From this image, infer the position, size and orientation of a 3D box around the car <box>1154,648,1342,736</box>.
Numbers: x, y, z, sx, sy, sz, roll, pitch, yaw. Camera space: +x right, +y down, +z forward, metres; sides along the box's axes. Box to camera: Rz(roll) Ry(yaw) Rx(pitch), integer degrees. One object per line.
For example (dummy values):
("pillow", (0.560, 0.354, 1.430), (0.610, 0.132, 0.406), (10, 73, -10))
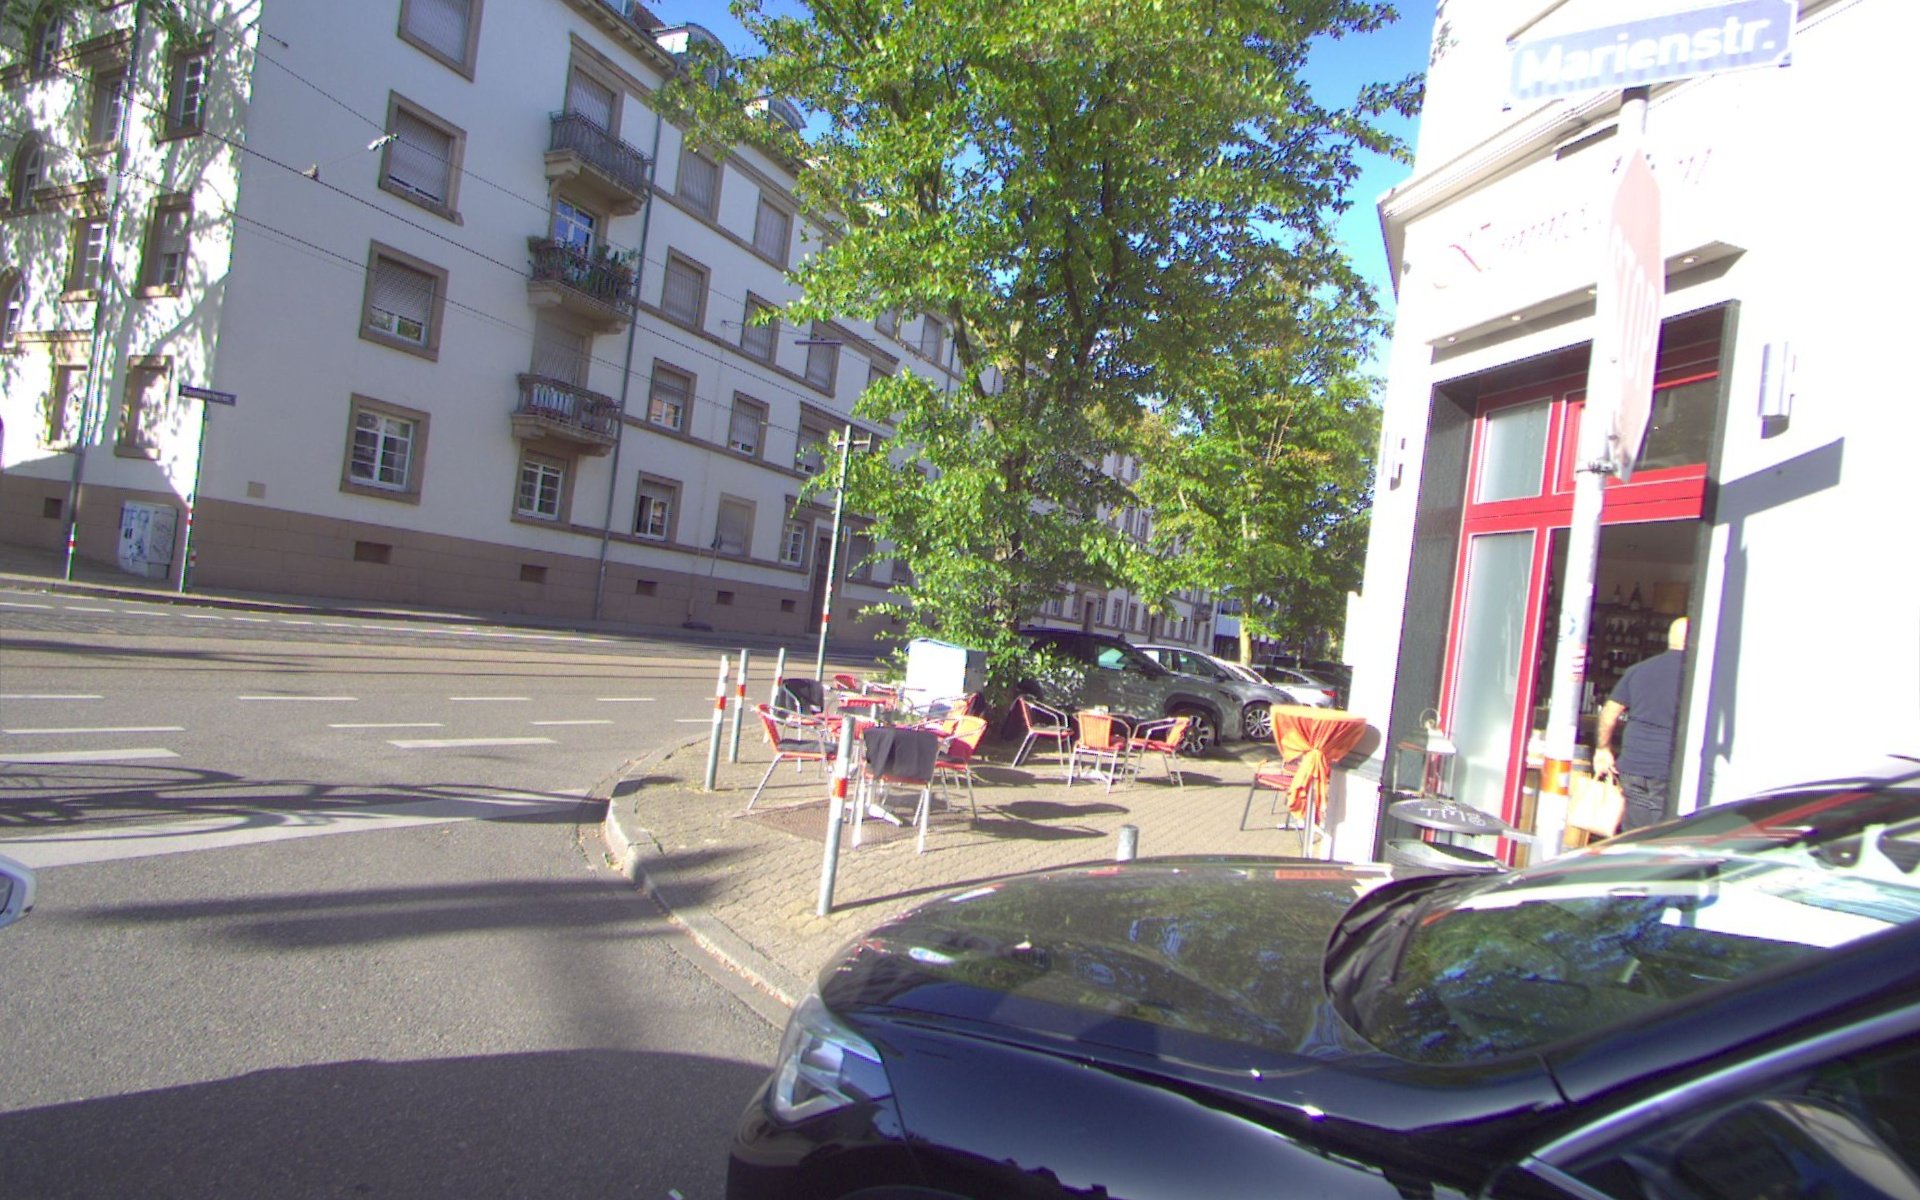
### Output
("car", (6.779, 2.138, 24.016), (4.056, 1.506, 1.621), (6, 0, 13))

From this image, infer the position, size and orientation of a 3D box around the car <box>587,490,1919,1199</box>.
("car", (1.593, 0.962, 1.355), (4.129, 1.681, 1.764), (7, -2, 33))

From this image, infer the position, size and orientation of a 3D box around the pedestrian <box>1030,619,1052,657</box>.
("pedestrian", (4.329, 2.021, 53.525), (0.725, 1.860, 0.696), (8, 0, 26))

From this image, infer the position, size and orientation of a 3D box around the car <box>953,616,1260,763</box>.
("car", (2.042, 1.244, 14.659), (4.057, 1.575, 1.621), (6, 0, 3))

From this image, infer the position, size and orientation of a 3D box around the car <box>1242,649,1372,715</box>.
("car", (13.096, 3.082, 38.090), (4.062, 1.911, 1.888), (6, 0, -5))

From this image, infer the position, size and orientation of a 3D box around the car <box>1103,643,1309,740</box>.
("car", (5.273, 1.925, 21.789), (4.057, 1.506, 1.621), (6, 0, 14))

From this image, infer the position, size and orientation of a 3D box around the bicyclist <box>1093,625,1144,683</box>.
("bicyclist", (4.440, 1.522, 28.139), (0.886, 1.471, 1.262), (8, 0, 27))

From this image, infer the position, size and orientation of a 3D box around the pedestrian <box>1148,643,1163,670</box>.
("pedestrian", (14.578, 4.204, 75.063), (0.725, 1.860, 0.696), (8, 0, 26))

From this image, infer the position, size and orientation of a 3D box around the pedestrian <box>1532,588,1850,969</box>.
("pedestrian", (3.881, 0.904, 5.405), (0.839, 1.821, 0.862), (8, 0, -16))

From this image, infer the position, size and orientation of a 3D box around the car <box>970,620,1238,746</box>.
("car", (2.338, 1.363, 16.892), (4.062, 1.575, 1.619), (6, 0, -5))

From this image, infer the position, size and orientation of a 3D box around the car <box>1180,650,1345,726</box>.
("car", (8.245, 2.350, 27.401), (4.060, 1.506, 1.620), (6, 0, 22))

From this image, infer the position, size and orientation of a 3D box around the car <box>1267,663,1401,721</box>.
("car", (13.307, 3.274, 35.897), (4.062, 1.506, 1.619), (6, 0, -5))

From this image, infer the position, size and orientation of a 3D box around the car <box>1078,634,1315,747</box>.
("car", (4.376, 1.660, 19.071), (4.056, 1.575, 1.621), (6, 0, 8))

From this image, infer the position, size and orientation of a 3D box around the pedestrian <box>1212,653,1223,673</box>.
("pedestrian", (24.632, 6.041, 96.216), (0.725, 1.860, 0.696), (8, 0, 26))
